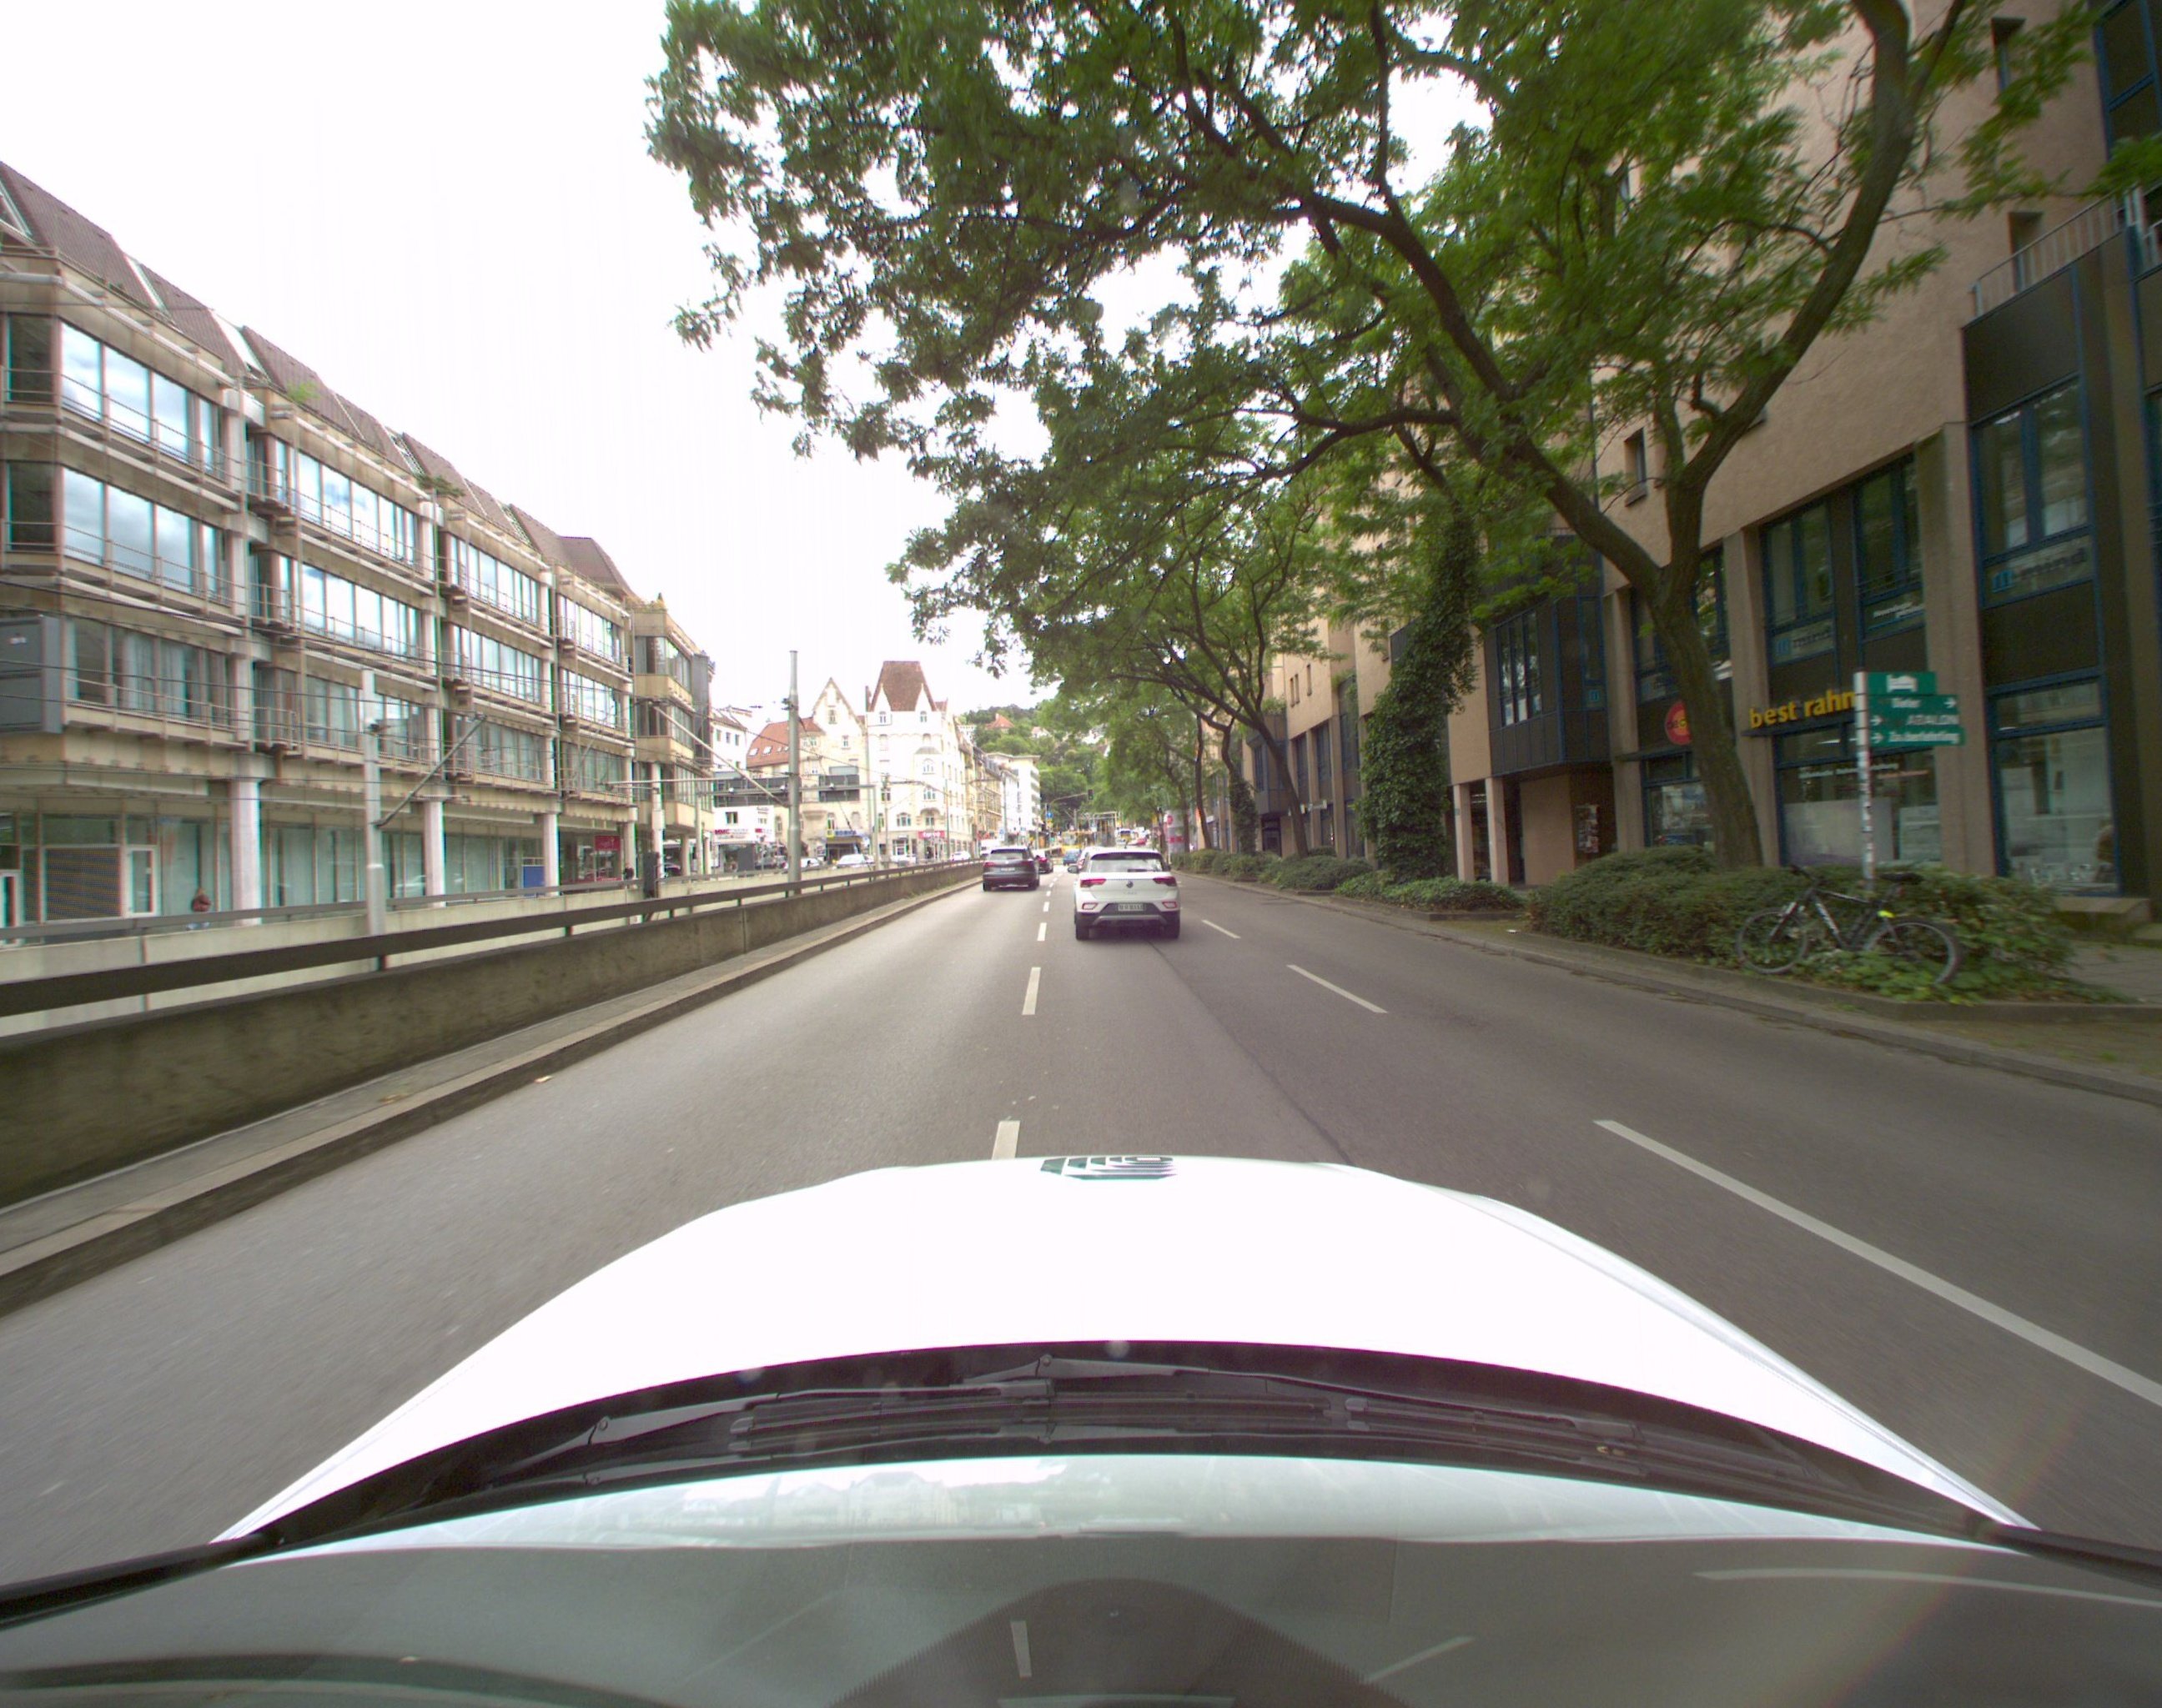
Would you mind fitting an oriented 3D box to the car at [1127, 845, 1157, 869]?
[{"bbox_3d":[5.524,0.266,74.383,2.357,2.013,5.148,-1,0,0],"label":"car"}]

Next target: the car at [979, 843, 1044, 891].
[{"bbox_3d":[-2.590,0.465,31.123,1.986,1.636,4.001,-2,0,1],"label":"car"}]

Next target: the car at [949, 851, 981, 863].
[{"bbox_3d":[-15.069,0.371,105.910,1.732,1.560,4.542,-1,0,30],"label":"car"}]

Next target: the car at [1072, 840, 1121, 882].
[{"bbox_3d":[0.606,0.280,35.153,1.879,1.684,4.159,-1,0,-1],"label":"car"}]

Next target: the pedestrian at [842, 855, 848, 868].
[{"bbox_3d":[-31.623,1.031,109.222,0.575,1.779,0.510,-2,0,-9],"label":"pedestrian"}]

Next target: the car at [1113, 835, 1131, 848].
[{"bbox_3d":[6.866,-2.086,136.363,2.351,2.013,5.160,-1,0,8],"label":"car"}]

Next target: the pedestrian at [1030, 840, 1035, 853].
[{"bbox_3d":[-6.942,-1.090,116.448,0.623,1.762,0.848,-2,0,6],"label":"pedestrian"}]

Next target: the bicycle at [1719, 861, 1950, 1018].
[{"bbox_3d":[6.522,0.673,7.165,0.361,1.201,1.565,-3,0,-9],"label":"bicycle"}]

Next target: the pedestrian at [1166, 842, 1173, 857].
[{"bbox_3d":[11.309,-0.545,104.519,0.718,1.802,0.835,-4,3,1],"label":"pedestrian"}]

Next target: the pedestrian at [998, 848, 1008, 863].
[{"bbox_3d":[-9.550,0.197,99.338,0.866,1.705,0.817,-2,0,34],"label":"pedestrian"}]

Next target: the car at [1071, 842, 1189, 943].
[{"bbox_3d":[0.770,0.616,15.179,1.832,1.584,4.154,-1,0,-1],"label":"car"}]

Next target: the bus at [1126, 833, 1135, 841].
[{"bbox_3d":[12.690,-4.253,207.691,1.987,2.013,4.000,-1,0,0],"label":"bus"}]

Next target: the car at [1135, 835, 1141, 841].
[{"bbox_3d":[15.720,-4.500,225.197,1.665,1.560,3.684,-1,0,5],"label":"car"}]

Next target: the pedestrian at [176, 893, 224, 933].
[{"bbox_3d":[-28.985,1.930,26.798,0.728,1.265,0.740,-1,0,-1],"label":"pedestrian"}]

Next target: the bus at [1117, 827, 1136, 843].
[{"bbox_3d":[9.724,-3.946,172.940,3.356,3.064,13.343,-1,0,5],"label":"bus"}]

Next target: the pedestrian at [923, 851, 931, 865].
[{"bbox_3d":[-19.865,0.554,105.071,0.703,1.779,0.599,-2,0,21],"label":"pedestrian"}]

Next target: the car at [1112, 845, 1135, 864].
[{"bbox_3d":[4.742,0.009,91.911,2.357,2.013,5.148,-1,0,0],"label":"car"}]

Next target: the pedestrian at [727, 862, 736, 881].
[{"bbox_3d":[-33.818,1.724,78.874,0.507,1.779,0.578,-2,0,7],"label":"pedestrian"}]

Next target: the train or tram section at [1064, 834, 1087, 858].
[{"bbox_3d":[-0.770,-1.231,120.670,2.821,3.520,5.761,-1,1,6],"label":"train or tram section"}]

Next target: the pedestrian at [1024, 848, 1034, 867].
[{"bbox_3d":[-4.602,0.304,72.235,0.761,1.721,0.638,-2,0,4],"label":"pedestrian"}]

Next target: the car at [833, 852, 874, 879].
[{"bbox_3d":[-16.216,0.811,58.222,1.830,1.842,4.599,1,0,-4],"label":"car"}]

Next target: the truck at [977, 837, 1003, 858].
[{"bbox_3d":[-13.951,-0.942,125.091,2.254,3.076,7.390,-1,0,7],"label":"truck"}]

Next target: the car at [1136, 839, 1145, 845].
[{"bbox_3d":[11.763,-2.296,160.518,1.574,1.172,3.684,-1,0,5],"label":"car"}]

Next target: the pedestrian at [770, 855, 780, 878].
[{"bbox_3d":[-24.986,1.023,66.454,0.507,1.779,0.578,-2,0,7],"label":"pedestrian"}]

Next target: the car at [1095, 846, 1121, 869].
[{"bbox_3d":[2.526,0.327,77.153,2.356,2.013,5.150,-1,0,2],"label":"car"}]

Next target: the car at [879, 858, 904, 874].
[{"bbox_3d":[-20.268,1.272,87.140,1.658,1.501,4.043,-2,0,1],"label":"car"}]

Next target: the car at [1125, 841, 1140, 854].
[{"bbox_3d":[7.360,-0.898,116.271,1.875,1.684,4.168,-1,0,5],"label":"car"}]

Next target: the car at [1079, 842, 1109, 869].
[{"bbox_3d":[0.827,0.092,54.466,1.879,1.684,4.159,-1,0,-1],"label":"car"}]

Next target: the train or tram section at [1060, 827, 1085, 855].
[{"bbox_3d":[-1.130,-1.853,114.895,2.821,3.678,5.761,-1,1,6],"label":"train or tram section"}]

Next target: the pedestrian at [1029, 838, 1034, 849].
[{"bbox_3d":[-7.367,-1.588,121.817,0.634,1.711,0.689,-2,1,-4],"label":"pedestrian"}]

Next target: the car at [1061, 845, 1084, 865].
[{"bbox_3d":[-0.777,0.092,71.701,1.879,1.684,4.159,-1,0,-1],"label":"car"}]

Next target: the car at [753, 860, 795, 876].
[{"bbox_3d":[-32.000,1.448,85.062,4.044,1.501,1.658,-3,0,-20],"label":"car"}]

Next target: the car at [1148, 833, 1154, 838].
[{"bbox_3d":[19.967,-5.281,232.478,1.665,1.560,3.684,-1,0,5],"label":"car"}]

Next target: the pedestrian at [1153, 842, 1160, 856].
[{"bbox_3d":[9.801,-0.656,105.897,0.691,1.777,0.690,-7,0,1],"label":"pedestrian"}]

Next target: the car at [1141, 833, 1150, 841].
[{"bbox_3d":[16.683,-4.387,210.703,1.986,2.013,4.002,-1,0,2],"label":"car"}]

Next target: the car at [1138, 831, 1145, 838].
[{"bbox_3d":[14.495,-4.580,195.072,1.665,1.560,3.684,-1,0,5],"label":"car"}]

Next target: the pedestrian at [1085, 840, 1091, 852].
[{"bbox_3d":[0.914,-1.103,111.183,0.682,1.711,0.713,-2,1,5],"label":"pedestrian"}]

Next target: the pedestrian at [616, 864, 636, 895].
[{"bbox_3d":[-26.562,1.487,47.560,0.728,1.811,0.740,-1,0,-1],"label":"pedestrian"}]

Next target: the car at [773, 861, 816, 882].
[{"bbox_3d":[-22.578,1.337,64.359,1.658,1.501,4.414,-2,0,1],"label":"car"}]

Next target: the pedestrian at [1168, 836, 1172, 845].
[{"bbox_3d":[18.032,-2.747,165.800,0.637,1.615,0.584,-1,0,-15],"label":"pedestrian"}]

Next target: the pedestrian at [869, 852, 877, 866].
[{"bbox_3d":[-26.784,0.608,104.776,0.777,1.705,0.655,-2,0,11],"label":"pedestrian"}]
